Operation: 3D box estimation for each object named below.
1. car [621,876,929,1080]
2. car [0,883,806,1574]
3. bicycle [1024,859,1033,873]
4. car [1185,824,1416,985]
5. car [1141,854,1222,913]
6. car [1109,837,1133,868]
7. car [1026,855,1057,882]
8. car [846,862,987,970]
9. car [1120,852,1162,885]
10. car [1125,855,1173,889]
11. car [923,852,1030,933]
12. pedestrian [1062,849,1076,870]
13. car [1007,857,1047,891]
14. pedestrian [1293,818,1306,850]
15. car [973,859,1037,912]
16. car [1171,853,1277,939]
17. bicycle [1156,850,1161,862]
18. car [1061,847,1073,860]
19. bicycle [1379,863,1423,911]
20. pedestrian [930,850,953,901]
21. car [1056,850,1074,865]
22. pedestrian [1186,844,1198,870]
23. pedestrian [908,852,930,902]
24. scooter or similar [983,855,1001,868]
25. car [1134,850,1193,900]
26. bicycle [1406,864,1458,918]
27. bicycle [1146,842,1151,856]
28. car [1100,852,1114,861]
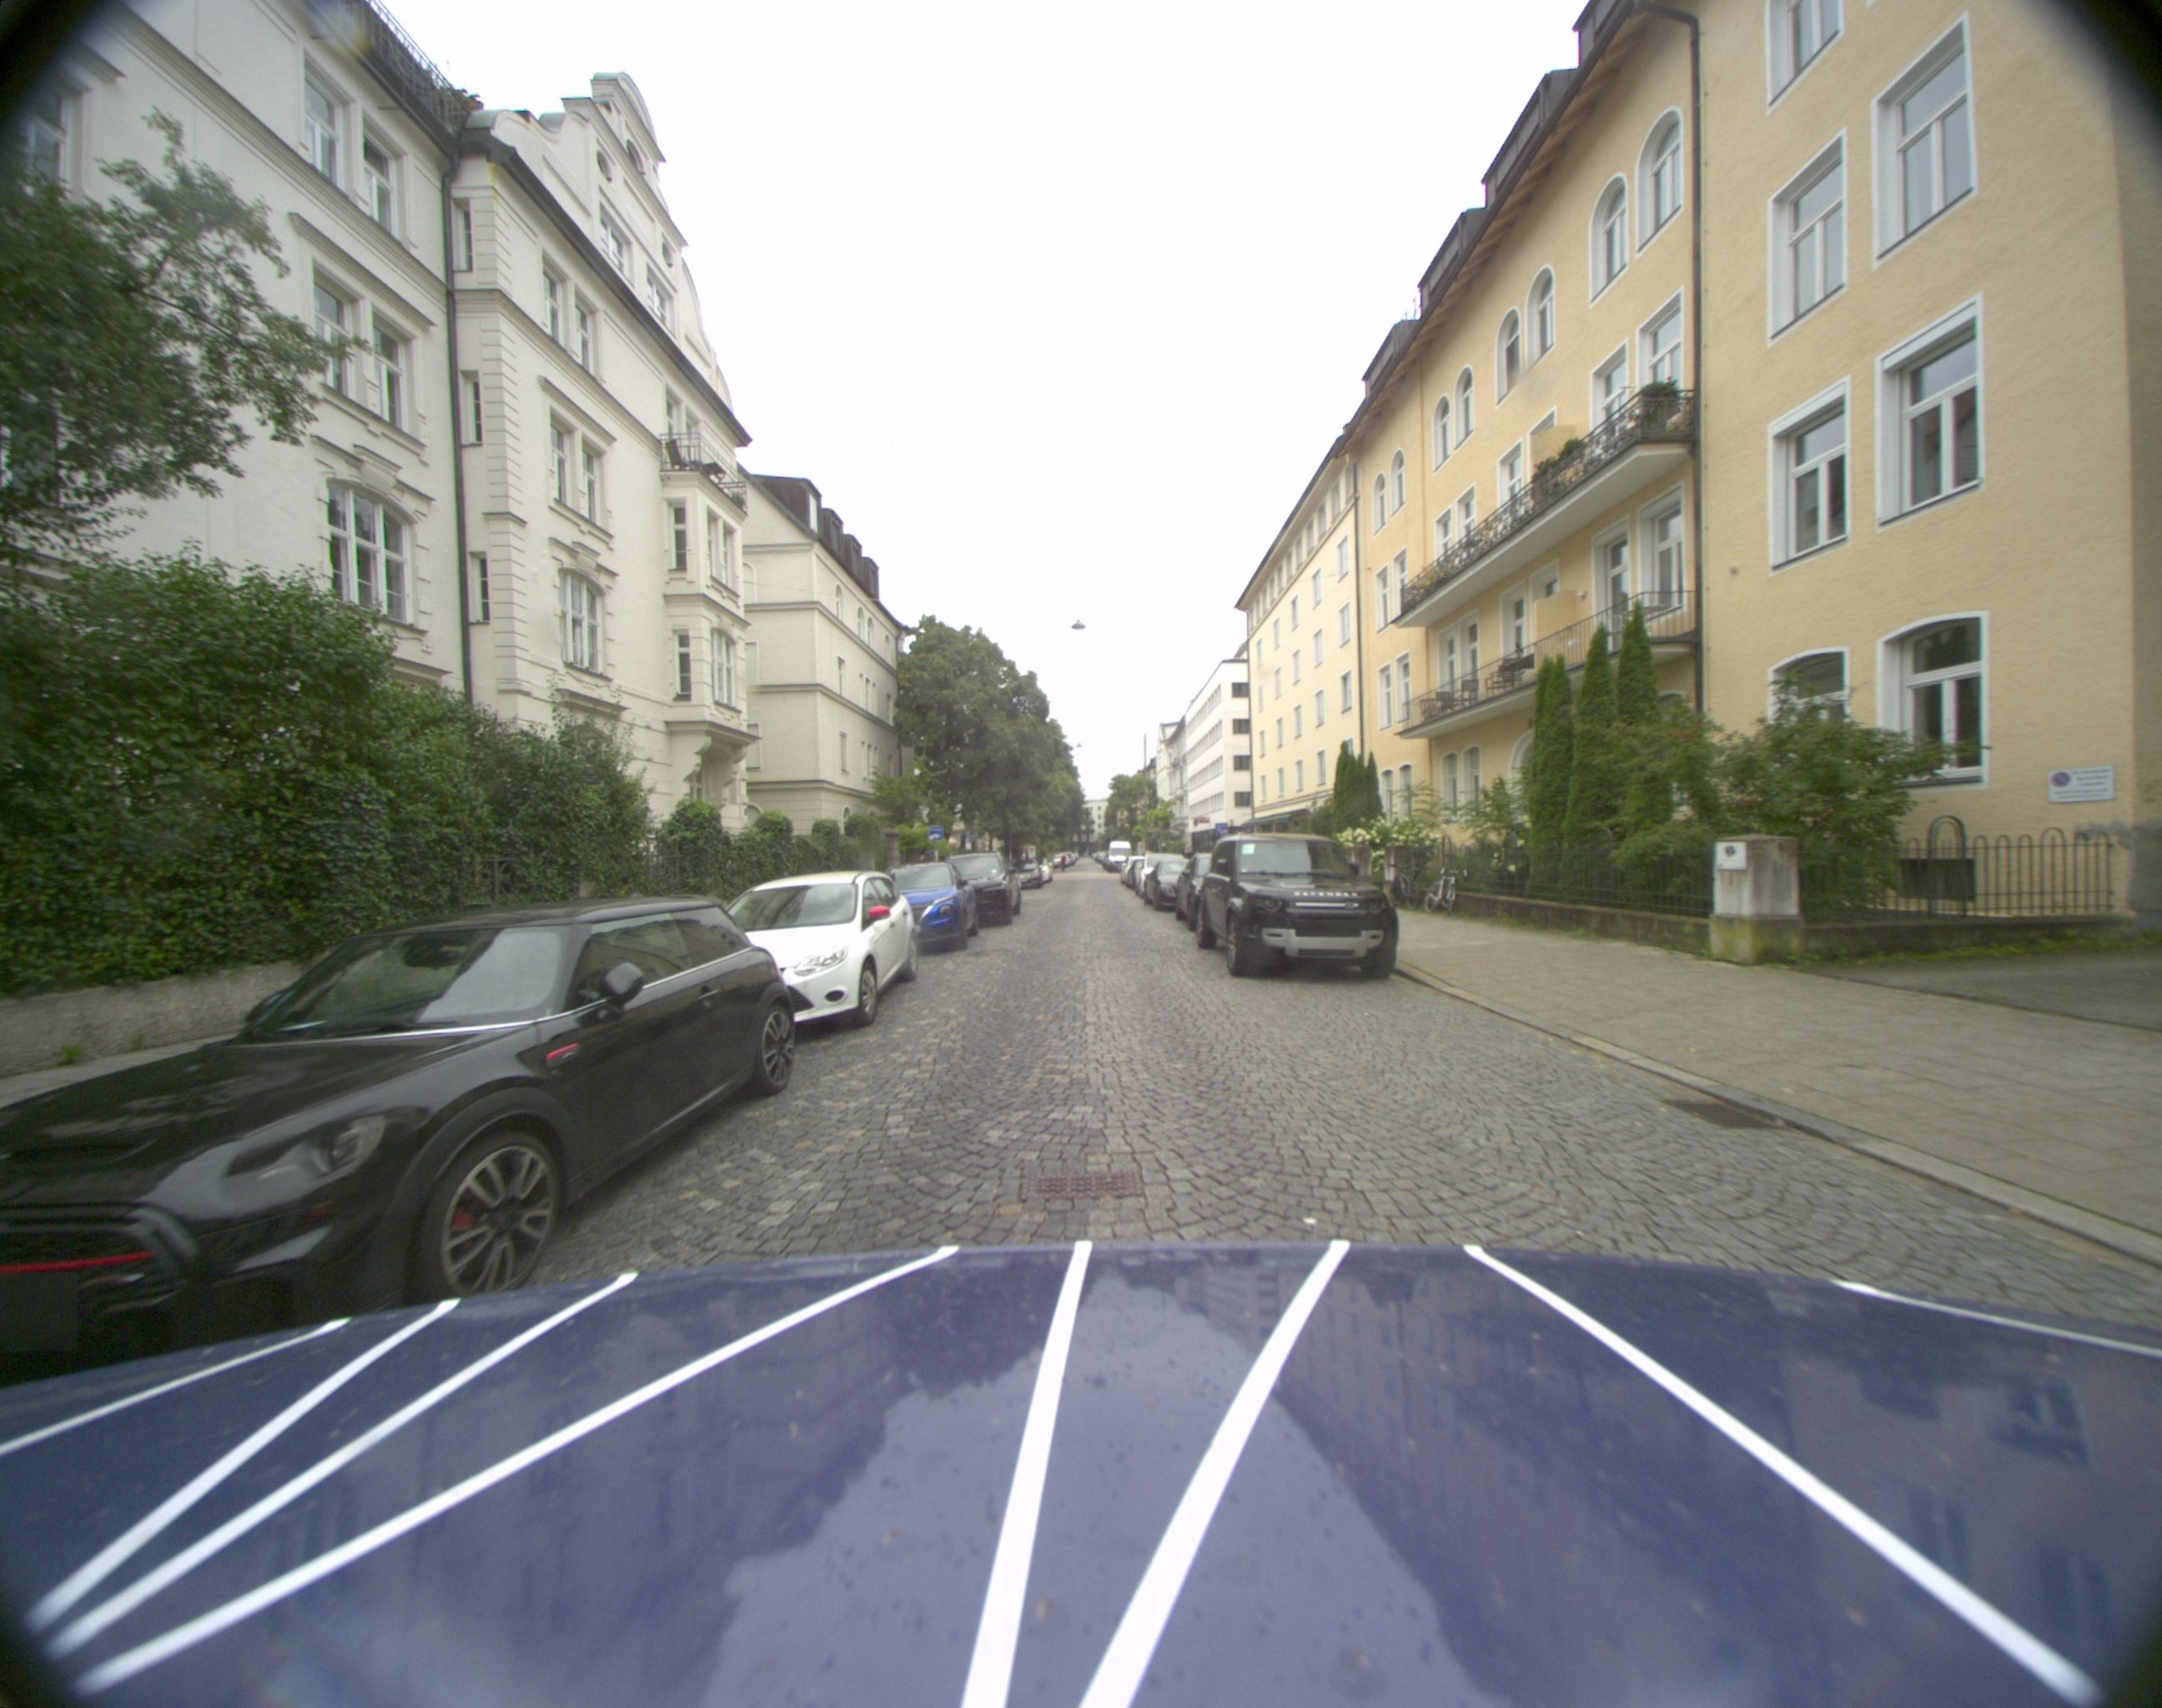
[{"bbox_3d":[-2.938,1.076,8.432,1.778,1.421,4.389,-2,1,-3],"label":"car"},{"bbox_3d":[-2.986,1.024,3.807,1.687,1.444,3.965,-4,1,0],"label":"car"},{"bbox_3d":[-4.618,1.046,67.075,0.389,1.140,1.590,-2,1,7],"label":"bicycle"},{"bbox_3d":[2.789,0.570,10.903,1.987,1.727,4.722,-2,0,1],"label":"car"},{"bbox_3d":[2.829,0.778,22.286,1.778,1.421,4.390,-2,1,1],"label":"car"},{"bbox_3d":[3.386,-0.171,64.989,1.981,2.559,5.794,0,1,2],"label":"car"},{"bbox_3d":[-2.335,0.839,45.357,1.505,1.462,3.795,-2,1,2],"label":"car"},{"bbox_3d":[-2.853,0.996,14.112,1.713,1.473,4.248,-5,1,-2],"label":"car"},{"bbox_3d":[3.091,0.706,39.872,1.778,1.527,4.540,-2,1,0],"label":"car"},{"bbox_3d":[3.084,0.779,35.124,1.778,1.352,4.390,-2,1,0],"label":"car"},{"bbox_3d":[-2.515,0.858,19.673,1.879,1.663,5.490,-2,1,1],"label":"car"},{"bbox_3d":[-1.090,0.452,67.247,1.105,1.768,1.263,-2,1,1],"label":"pedestrian"},{"bbox_3d":[-2.693,0.962,38.883,1.652,1.414,4.631,-5,1,-1],"label":"car"},{"bbox_3d":[11.445,-1.038,39.798,0.478,1.633,0.497,-2,1,5],"label":"pedestrian"},{"bbox_3d":[-2.443,0.983,25.177,1.634,1.461,3.658,-4,1,0],"label":"car"},{"bbox_3d":[2.962,0.797,16.450,1.583,1.581,4.055,0,1,1],"label":"car"},{"bbox_3d":[8.156,0.225,80.019,0.361,1.168,1.911,-2,1,3],"label":"bicycle"},{"bbox_3d":[-2.171,-0.069,118.980,1.819,1.809,4.808,-3,1,0],"label":"car"},{"bbox_3d":[7.270,0.720,17.307,0.353,0.997,1.572,-2,1,2],"label":"bicycle"},{"bbox_3d":[-5.169,0.792,28.185,0.577,1.839,0.682,-2,1,8],"label":"pedestrian"},{"bbox_3d":[-1.990,0.387,94.031,1.925,1.676,4.633,-2,1,1],"label":"car"},{"bbox_3d":[8.008,0.229,54.866,0.615,1.830,0.813,-2,1,-6],"label":"pedestrian"},{"bbox_3d":[-5.947,0.840,27.886,0.631,1.798,0.659,-3,1,-22],"label":"pedestrian"},{"bbox_3d":[-8.082,0.647,68.873,1.604,1.166,0.405,-1,2,24],"label":"scooter or similar"},{"bbox_3d":[3.019,0.715,28.667,1.778,1.638,4.390,-2,1,1],"label":"car"},{"bbox_3d":[7.190,0.738,15.634,0.353,0.997,1.572,-2,1,2],"label":"bicycle"},{"bbox_3d":[5.637,-0.432,63.407,0.256,1.120,1.806,-2,1,0],"label":"bicycle"},{"bbox_3d":[4.044,0.397,118.786,1.886,1.411,4.808,-1,0,0],"label":"car"}]
